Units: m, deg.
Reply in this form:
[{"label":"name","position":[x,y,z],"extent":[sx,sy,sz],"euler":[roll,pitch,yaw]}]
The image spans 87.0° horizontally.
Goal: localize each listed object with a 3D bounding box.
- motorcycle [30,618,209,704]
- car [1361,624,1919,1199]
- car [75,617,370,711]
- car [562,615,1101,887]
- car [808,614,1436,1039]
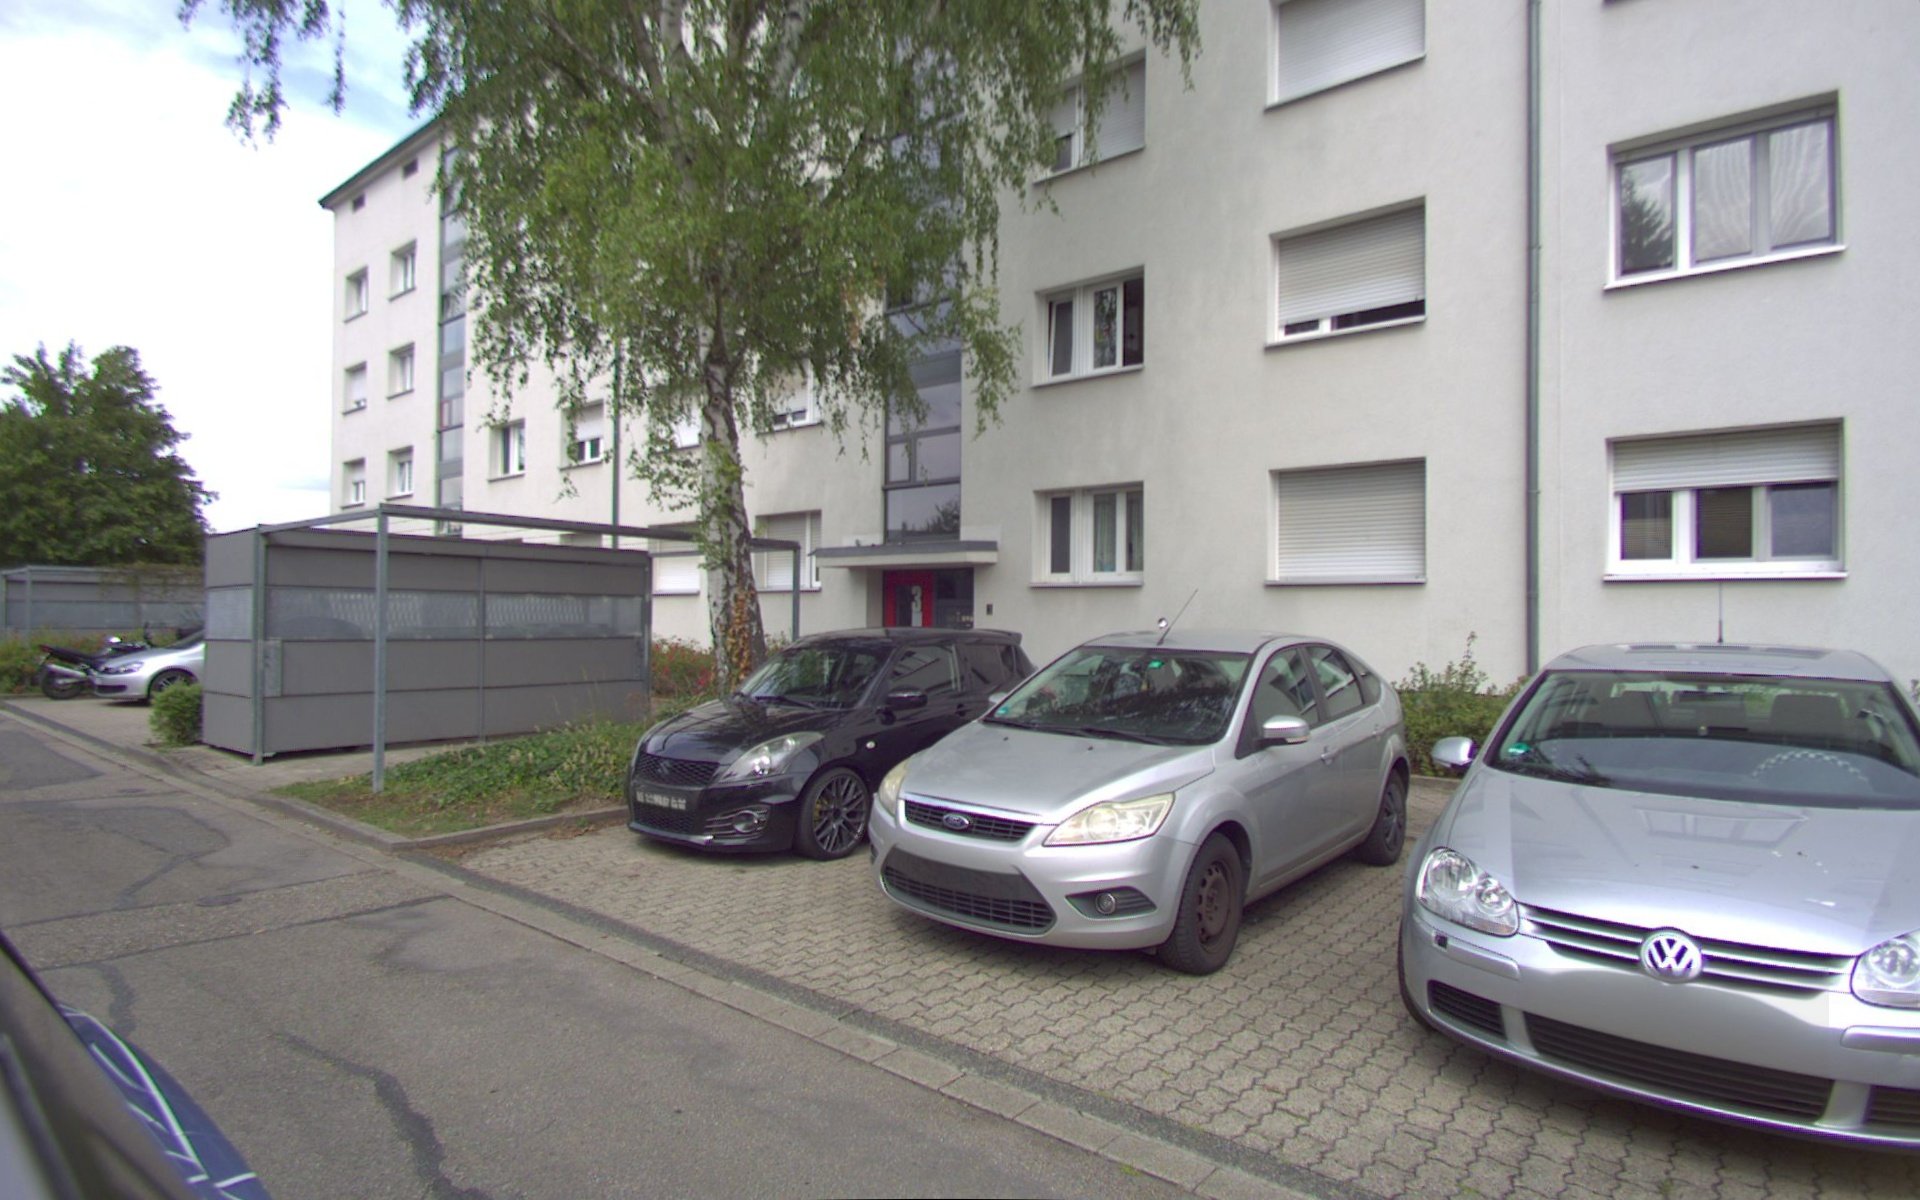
[{"label":"motorcycle","position":[-15.286,1.114,18.475],"extent":[0.713,1.475,2.353],"euler":[-1,-4,39]},{"label":"car","position":[3.193,0.876,4.154],"extent":[1.780,1.475,4.011],"euler":[-1,-2,39]},{"label":"car","position":[-13.239,1.145,18.342],"extent":[1.901,1.497,3.945],"euler":[-1,-4,41]},{"label":"car","position":[-0.718,0.924,7.814],"extent":[1.780,1.516,4.011],"euler":[-1,-2,39]},{"label":"car","position":[1.238,0.887,5.767],"extent":[1.780,1.516,4.011],"euler":[-1,-2,39]}]
